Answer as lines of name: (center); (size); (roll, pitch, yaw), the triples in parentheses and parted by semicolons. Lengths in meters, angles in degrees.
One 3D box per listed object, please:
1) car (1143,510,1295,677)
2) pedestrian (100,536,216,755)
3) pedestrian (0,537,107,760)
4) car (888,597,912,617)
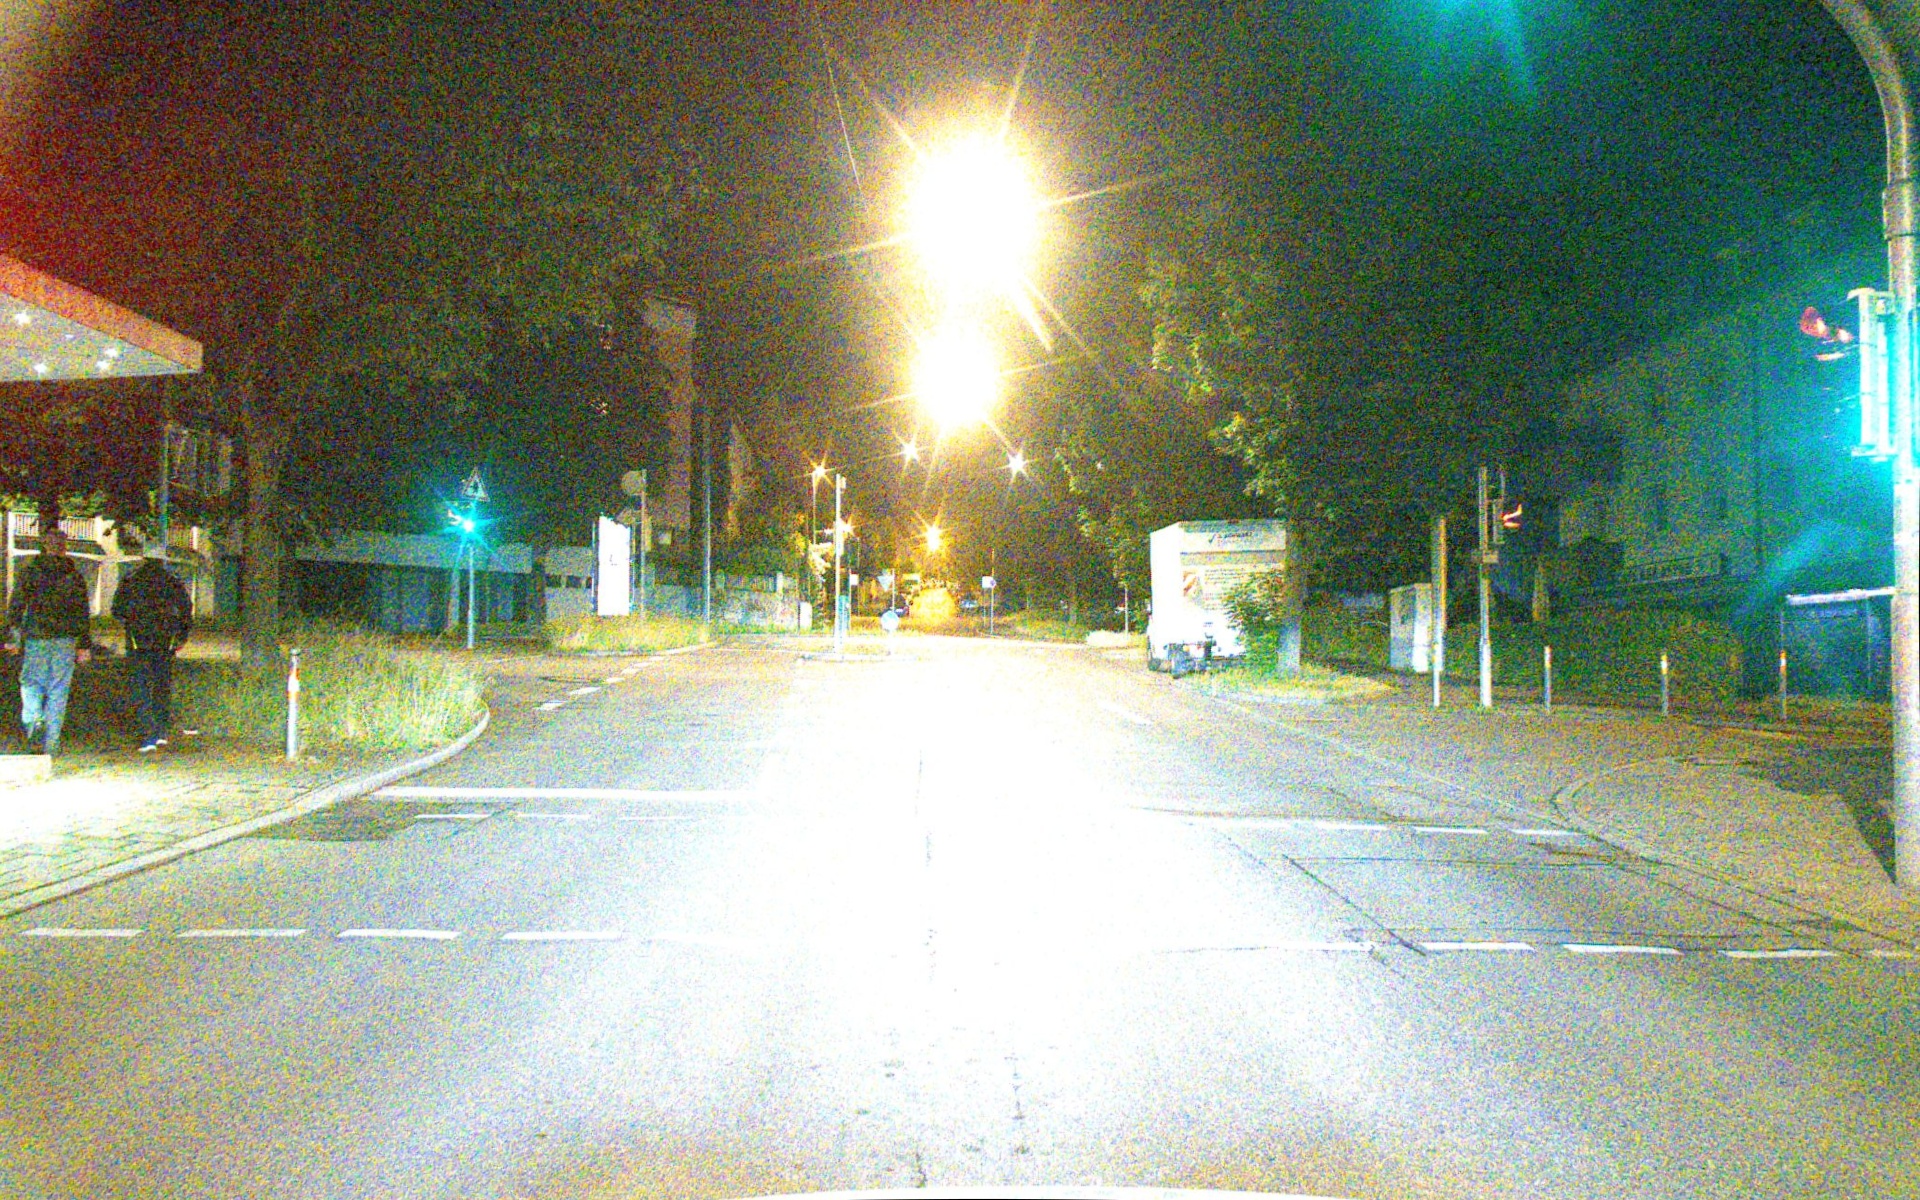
car: (5.249, -0.117, 34.338); (2.249, 3.147, 5.840); (-1, 0, 1)
pedestrian: (-6.872, 0.382, 14.197); (0.558, 1.808, 0.737); (3, -1, -1)
pedestrian: (-7.360, 0.388, 13.429); (0.558, 1.761, 0.543); (1, -1, -1)
car: (-4.850, 0.539, 134.281); (1.869, 1.585, 3.903); (1, 0, -1)
